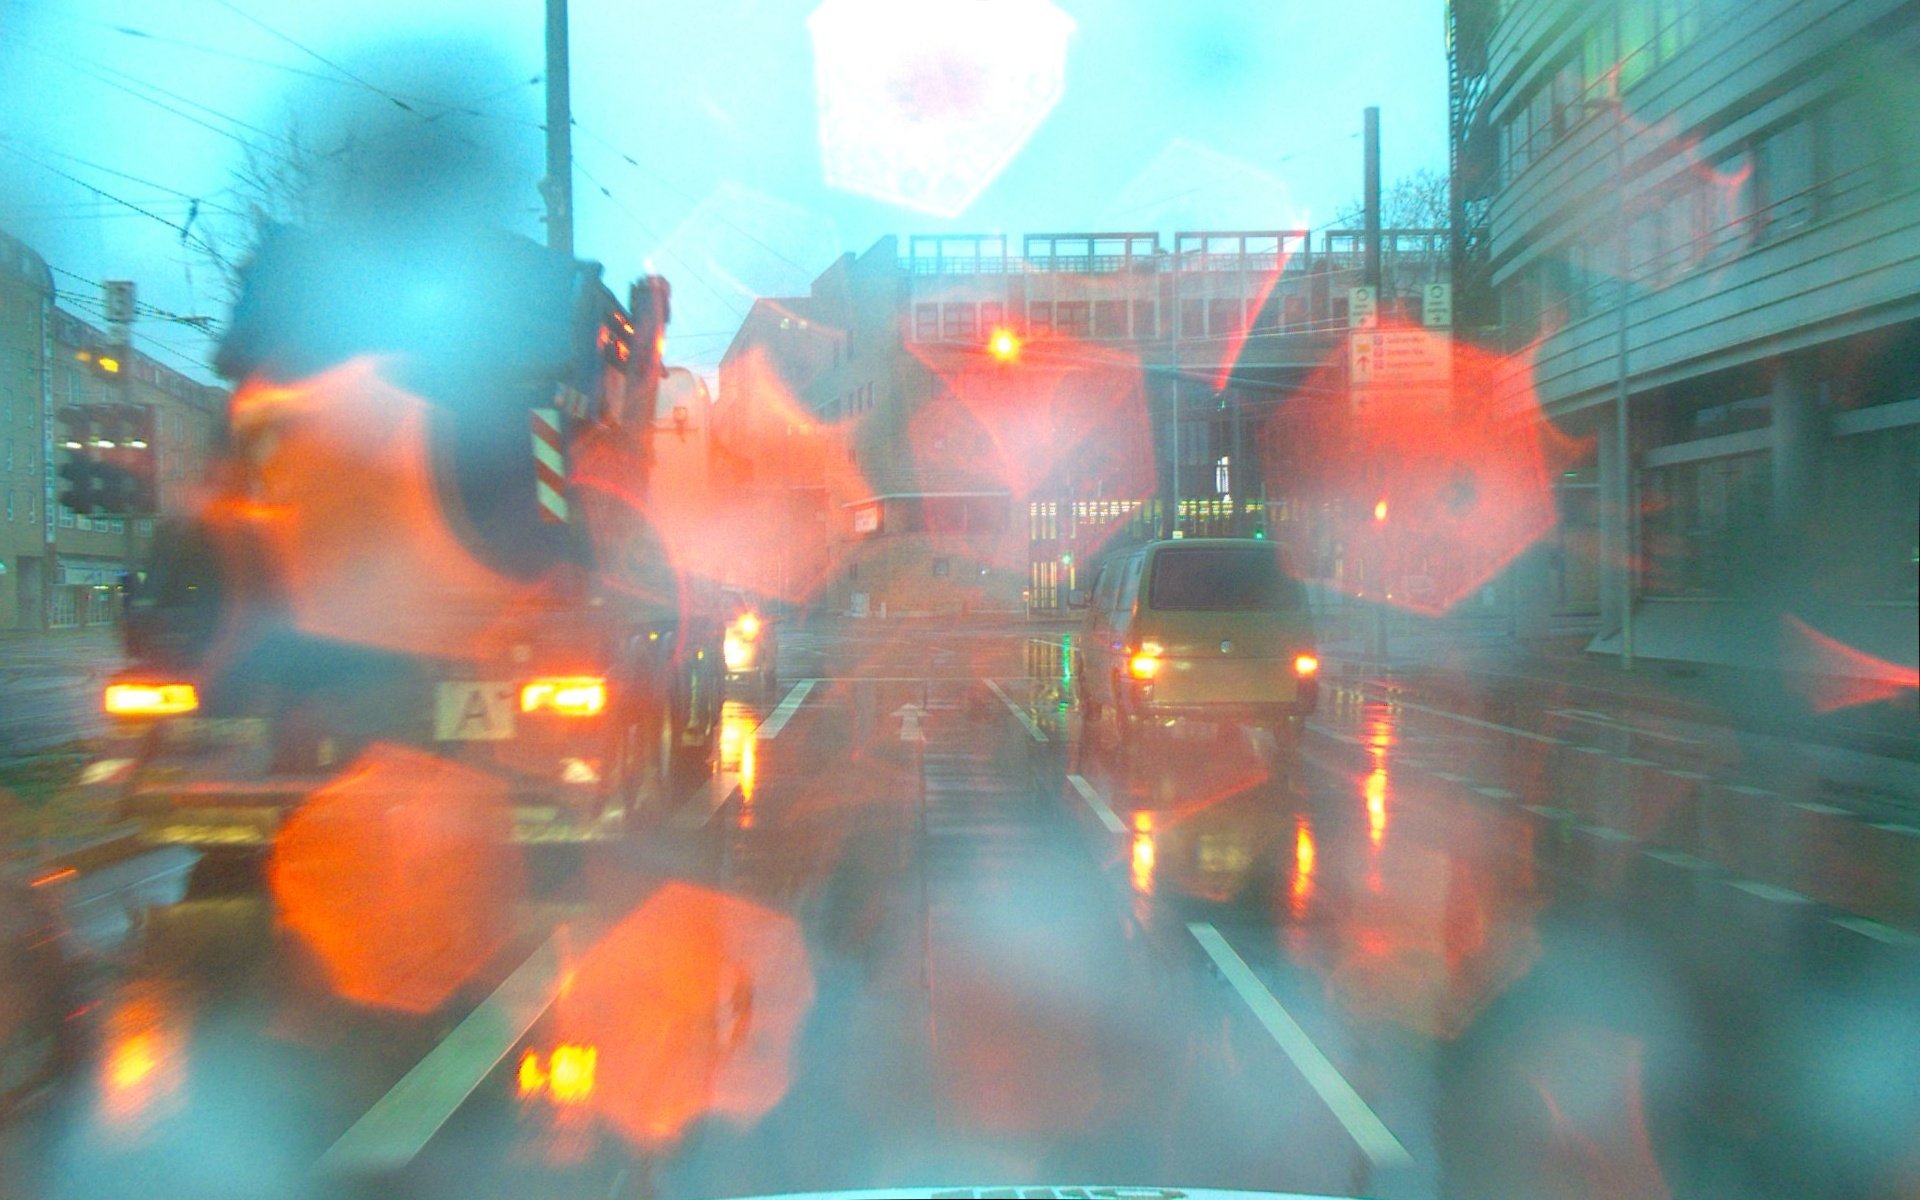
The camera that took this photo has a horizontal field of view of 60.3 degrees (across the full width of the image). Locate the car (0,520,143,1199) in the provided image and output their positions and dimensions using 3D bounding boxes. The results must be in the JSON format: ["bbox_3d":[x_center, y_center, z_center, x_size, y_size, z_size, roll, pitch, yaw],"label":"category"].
[{"bbox_3d":[-2.789,0.616,2.240,1.598,1.550,3.939,-1,0,-4],"label":"car"}]

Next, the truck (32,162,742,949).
[{"bbox_3d":[-3.199,-0.254,11.624,2.783,3.697,7.521,-1,0,-4],"label":"truck"}]

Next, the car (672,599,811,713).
[{"bbox_3d":[-3.114,0.753,24.161,1.664,1.485,3.755,-1,0,-3],"label":"car"}]

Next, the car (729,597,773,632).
[{"bbox_3d":[-10.105,0.679,79.808,1.837,1.606,3.989,2,0,-11],"label":"car"}]

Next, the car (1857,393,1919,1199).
[{"bbox_3d":[2.742,0.566,0.936,1.845,1.842,4.670,1,0,-1],"label":"car"}]

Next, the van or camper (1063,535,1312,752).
[{"bbox_3d":[2.183,0.375,17.039,1.722,1.940,4.416,1,0,-3],"label":"van or camper"}]
